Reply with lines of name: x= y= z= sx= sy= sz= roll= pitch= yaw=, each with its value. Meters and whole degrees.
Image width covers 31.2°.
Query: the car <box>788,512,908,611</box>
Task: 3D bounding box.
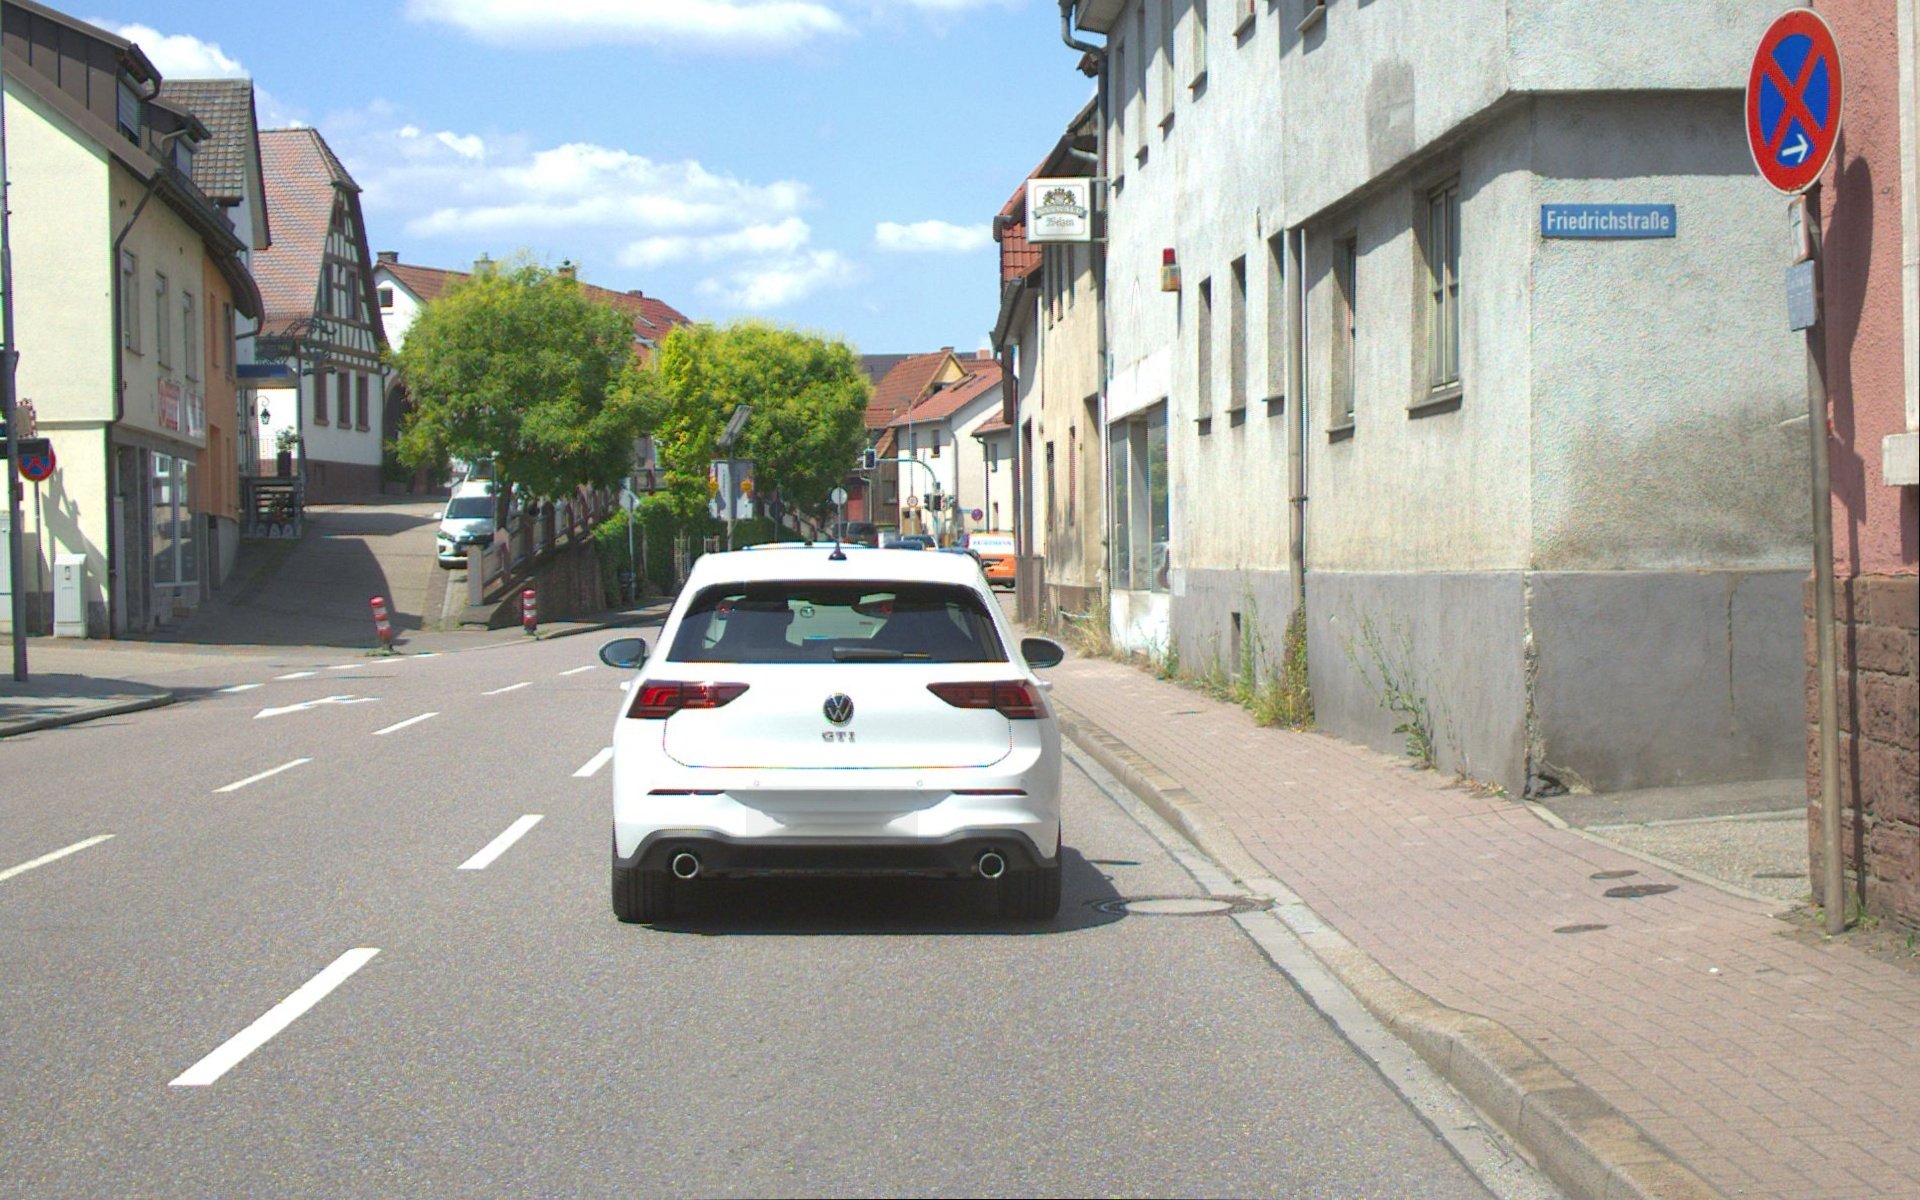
car: x=-1.738 y=-0.612 z=54.432 sx=1.807 sy=1.462 sz=4.000 roll=1 pitch=1 yaw=-1

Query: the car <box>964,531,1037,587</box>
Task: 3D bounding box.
car: x=1.328 y=-1.321 z=110.742 sx=1.776 sy=1.759 sz=3.999 roll=0 pitch=1 yaw=9

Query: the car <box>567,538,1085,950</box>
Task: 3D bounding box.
car: x=-0.420 y=0.503 z=14.540 sx=1.808 sy=1.462 sz=4.000 roll=1 pitch=1 yaw=3

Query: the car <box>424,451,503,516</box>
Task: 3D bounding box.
car: x=-12.594 y=-2.977 z=87.375 sx=1.576 sy=1.357 sz=3.857 roll=0 pitch=7 yaw=-2

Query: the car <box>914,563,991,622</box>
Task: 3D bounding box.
car: x=-0.191 y=-0.224 z=94.825 sx=1.776 sy=1.533 sz=4.000 roll=0 pitch=1 yaw=5

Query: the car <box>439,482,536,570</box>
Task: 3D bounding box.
car: x=-10.245 y=-1.635 z=74.735 sx=1.693 sy=1.537 sz=3.857 roll=0 pitch=7 yaw=-2

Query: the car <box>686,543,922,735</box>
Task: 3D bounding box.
car: x=-1.328 y=0.282 z=28.796 sx=1.807 sy=1.462 sz=4.001 roll=1 pitch=1 yaw=-3
